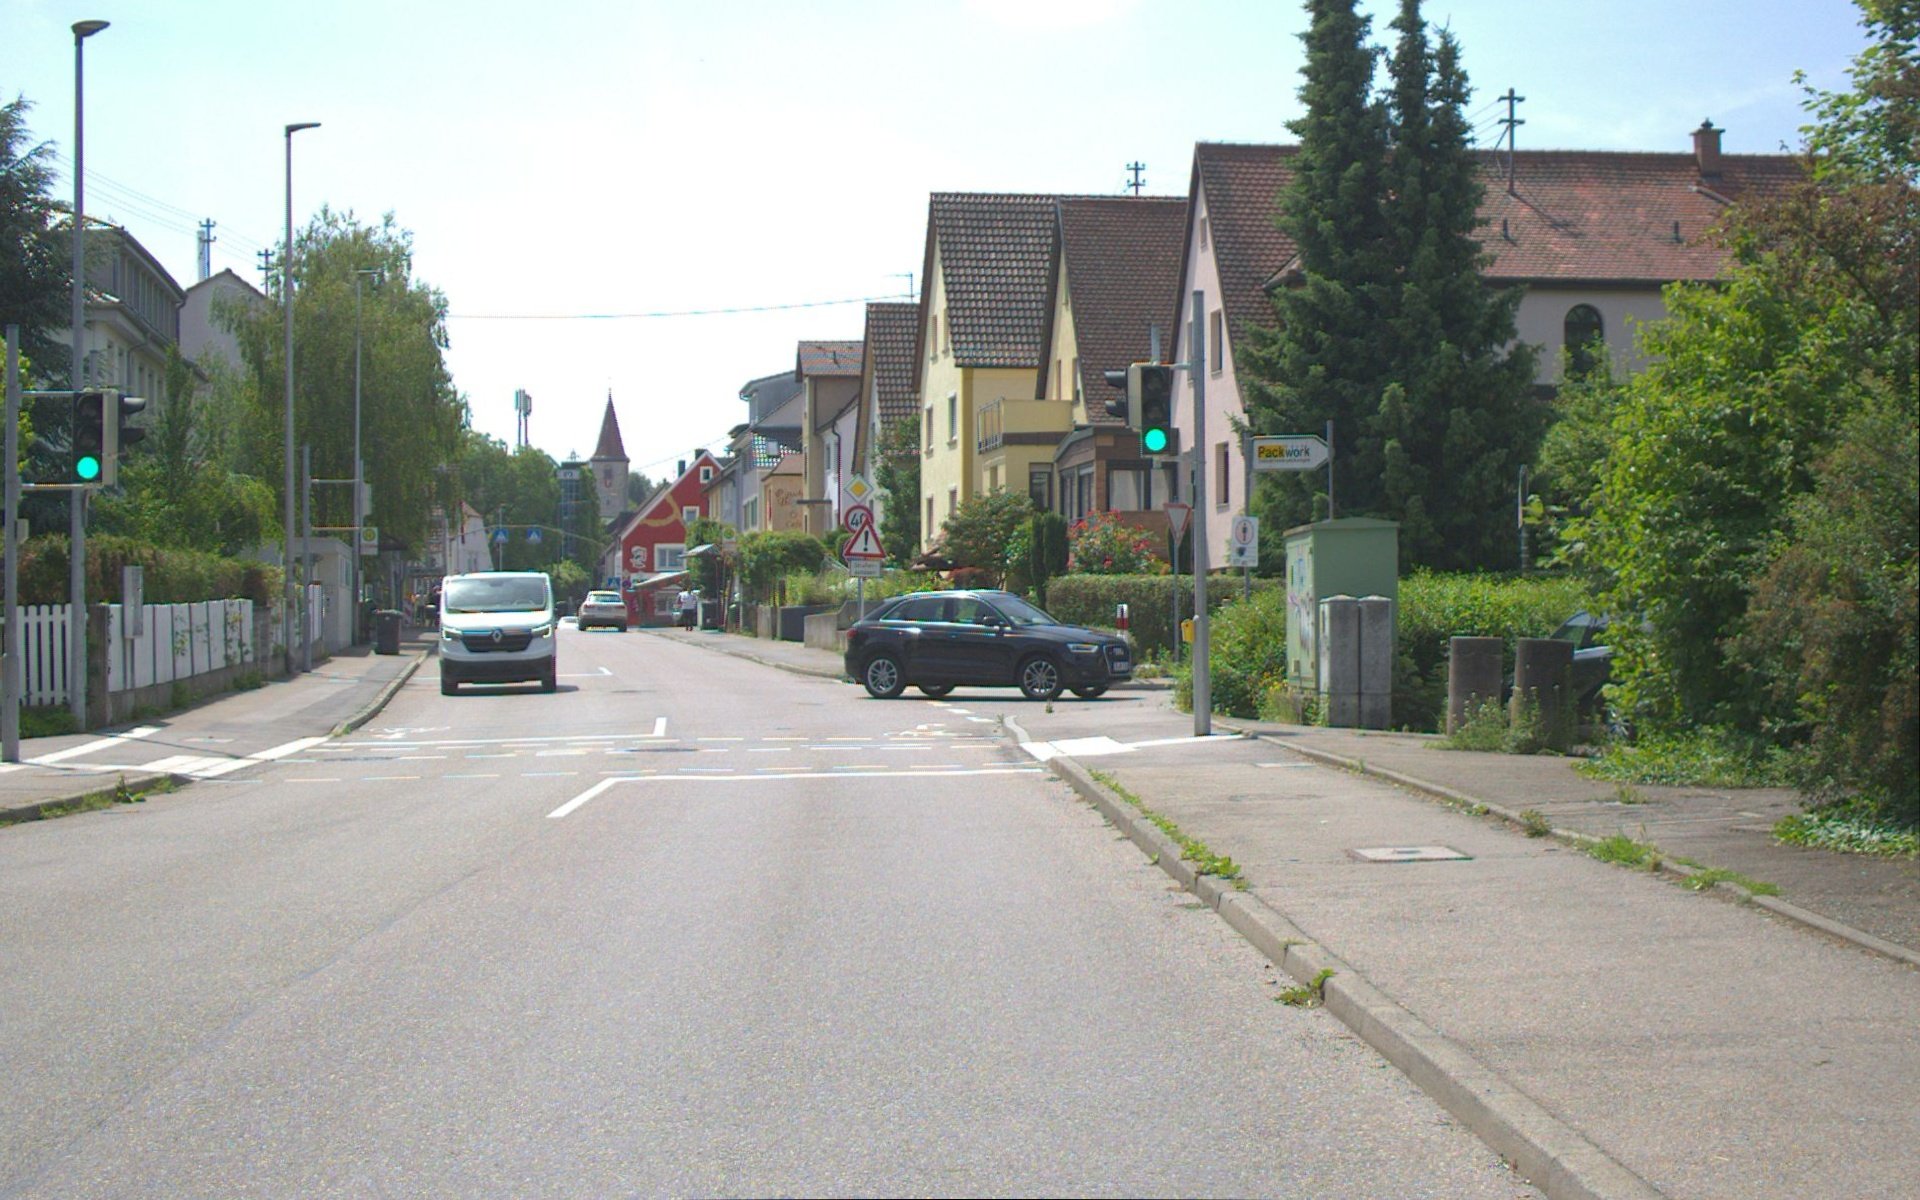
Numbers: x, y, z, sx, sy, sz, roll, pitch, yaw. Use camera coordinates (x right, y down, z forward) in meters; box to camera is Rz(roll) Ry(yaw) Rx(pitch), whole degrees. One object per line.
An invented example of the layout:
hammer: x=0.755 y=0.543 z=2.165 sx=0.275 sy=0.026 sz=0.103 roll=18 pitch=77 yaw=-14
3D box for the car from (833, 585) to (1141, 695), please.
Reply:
car: x=0.386 y=0.563 z=50.600 sx=4.297 sy=1.536 sz=1.537 roll=0 pitch=1 yaw=27

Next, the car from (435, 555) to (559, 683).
car: x=-7.666 y=0.322 z=56.867 sx=1.879 sy=1.958 sz=4.903 roll=-2 pitch=0 yaw=-8

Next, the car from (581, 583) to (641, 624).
car: x=-13.862 y=0.121 z=136.248 sx=1.993 sy=1.555 sz=4.315 roll=0 pitch=0 yaw=-11

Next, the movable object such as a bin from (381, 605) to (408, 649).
movable object such as a bin: x=-13.770 y=0.647 z=83.695 sx=0.607 sy=1.042 sz=0.725 roll=1 pitch=2 yaw=-8

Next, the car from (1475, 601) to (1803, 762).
car: x=6.947 y=0.867 z=35.588 sx=1.709 sy=1.546 sz=4.066 roll=1 pitch=-2 yaw=-15

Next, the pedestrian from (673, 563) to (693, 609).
pedestrian: x=-10.421 y=-0.524 z=129.188 sx=0.646 sy=1.724 sz=0.608 roll=-2 pitch=1 yaw=-8
